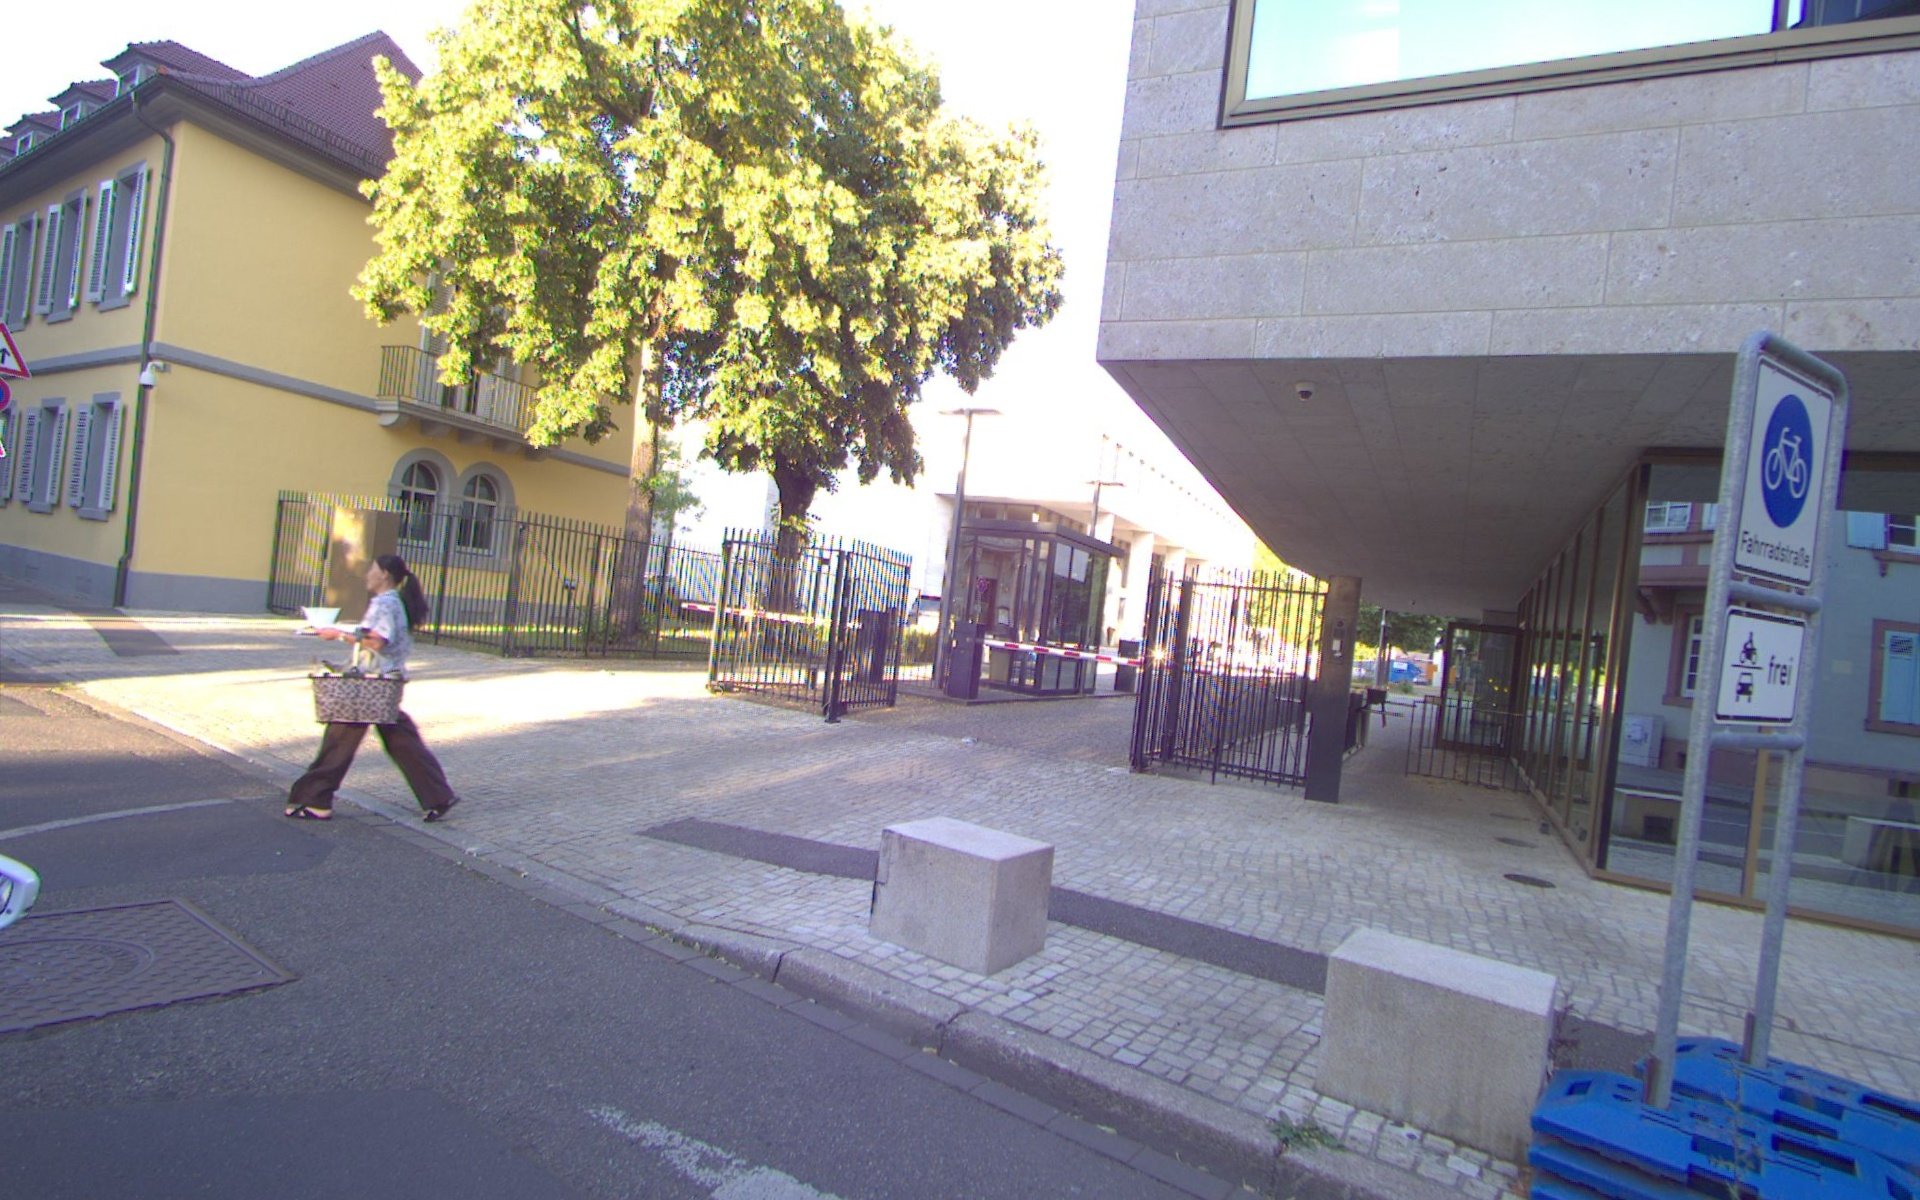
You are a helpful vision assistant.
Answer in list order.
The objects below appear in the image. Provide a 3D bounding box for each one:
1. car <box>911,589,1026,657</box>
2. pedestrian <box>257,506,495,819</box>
[{"bbox_3d":[0.347,0.783,32.110,1.680,1.758,4.056,9,1,30],"label":"car"},{"bbox_3d":[-3.414,0.371,5.971,0.946,1.679,0.637,6,0,-18],"label":"pedestrian"}]
